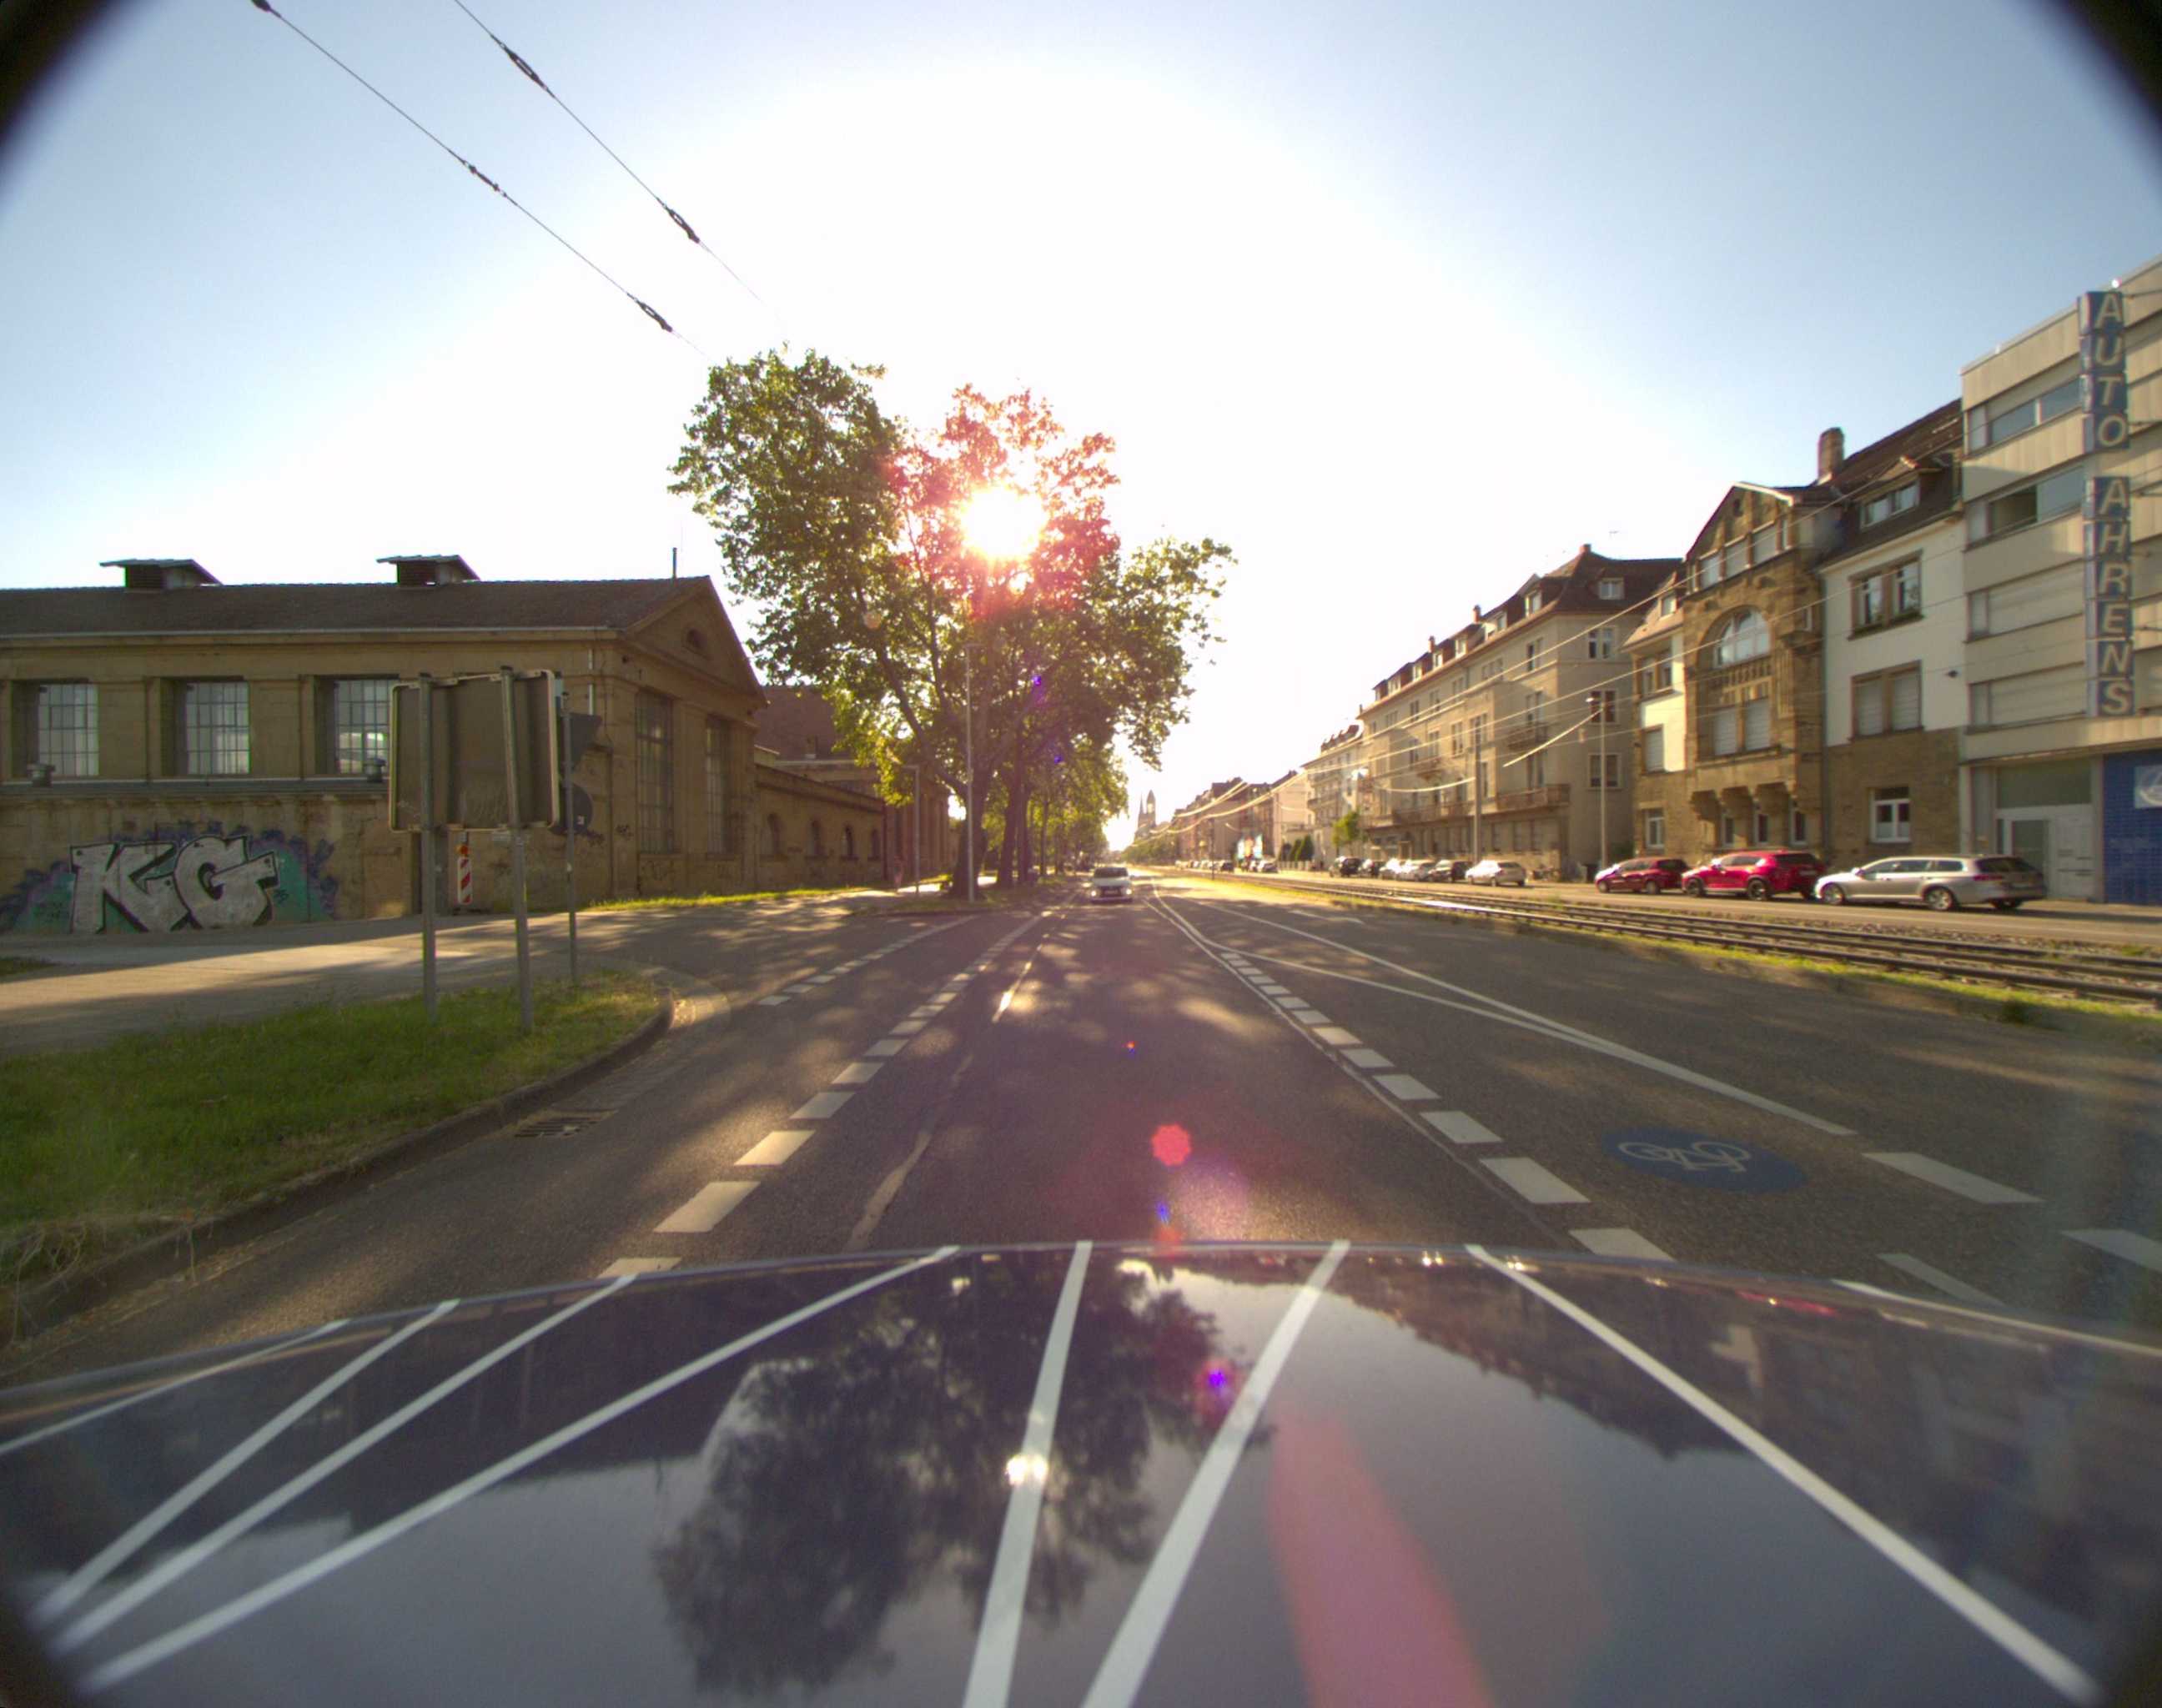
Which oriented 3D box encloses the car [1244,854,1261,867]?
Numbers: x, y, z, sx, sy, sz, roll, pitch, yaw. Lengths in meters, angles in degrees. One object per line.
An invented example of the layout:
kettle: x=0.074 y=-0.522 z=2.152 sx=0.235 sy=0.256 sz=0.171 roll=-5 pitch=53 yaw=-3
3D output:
car: x=25.149 y=0.980 z=111.537 sx=1.727 sy=1.776 sz=3.881 roll=-2 pitch=0 yaw=1

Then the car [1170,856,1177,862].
car: x=27.019 y=1.372 z=221.146 sx=1.624 sy=1.581 sz=3.450 roll=-2 pitch=0 yaw=1

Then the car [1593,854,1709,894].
car: x=23.445 y=0.811 z=31.416 sx=1.756 sy=1.487 sz=3.729 roll=-2 pitch=0 yaw=-5

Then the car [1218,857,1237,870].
car: x=19.489 y=1.314 z=101.320 sx=1.822 sy=1.674 sz=4.001 roll=0 pitch=0 yaw=2

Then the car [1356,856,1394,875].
car: x=24.592 y=0.953 z=63.662 sx=1.802 sy=1.470 sz=3.823 roll=-2 pitch=0 yaw=2

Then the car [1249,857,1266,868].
car: x=24.681 y=1.183 z=106.317 sx=1.684 sy=1.562 sz=3.389 roll=-2 pitch=0 yaw=1

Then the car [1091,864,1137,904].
car: x=1.300 y=1.177 z=30.867 sx=1.686 sy=1.462 sz=4.056 roll=-2 pitch=-1 yaw=2

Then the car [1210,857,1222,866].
car: x=25.040 y=1.398 z=141.004 sx=1.624 sy=1.581 sz=3.450 roll=-2 pitch=0 yaw=1

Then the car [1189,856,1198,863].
car: x=25.968 y=1.336 z=176.004 sx=1.624 sy=1.581 sz=3.450 roll=-2 pitch=0 yaw=1

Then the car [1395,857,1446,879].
car: x=23.564 y=0.961 z=52.803 sx=1.642 sy=1.438 sz=3.538 roll=-2 pitch=0 yaw=-6

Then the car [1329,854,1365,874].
car: x=24.175 y=0.899 z=69.177 sx=1.875 sy=1.726 sz=3.916 roll=-2 pitch=0 yaw=2

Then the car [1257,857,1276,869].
car: x=24.636 y=1.187 z=100.843 sx=1.684 sy=1.562 sz=3.389 roll=-2 pitch=0 yaw=1

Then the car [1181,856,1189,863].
car: x=26.599 y=1.385 z=194.076 sx=1.624 sy=1.581 sz=3.450 roll=-2 pitch=0 yaw=1

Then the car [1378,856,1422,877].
car: x=24.196 y=0.925 z=57.720 sx=1.802 sy=1.470 sz=3.823 roll=-2 pitch=0 yaw=2

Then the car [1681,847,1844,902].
car: x=23.294 y=0.673 z=26.233 sx=1.860 sy=1.677 sz=4.264 roll=-2 pitch=0 yaw=2

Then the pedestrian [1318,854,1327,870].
pedestrian: x=27.636 y=0.925 z=86.933 sx=0.725 sy=1.779 sz=0.678 roll=0 pitch=0 yaw=1

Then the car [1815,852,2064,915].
car: x=23.237 y=0.742 z=20.879 sx=1.861 sy=1.490 sz=4.382 roll=-2 pitch=0 yaw=0

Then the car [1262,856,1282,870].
car: x=23.994 y=1.123 z=95.569 sx=1.677 sy=1.622 sz=3.408 roll=-2 pitch=0 yaw=2

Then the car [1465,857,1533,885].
car: x=23.752 y=0.943 z=43.292 sx=1.802 sy=1.470 sz=3.823 roll=-2 pitch=0 yaw=2

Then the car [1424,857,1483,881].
car: x=23.814 y=0.930 z=48.714 sx=1.802 sy=1.422 sz=3.823 roll=-2 pitch=0 yaw=-1

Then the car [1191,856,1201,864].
car: x=25.925 y=1.344 z=171.052 sx=1.624 sy=1.581 sz=3.450 roll=-2 pitch=0 yaw=1

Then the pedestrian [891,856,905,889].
pedestrian: x=-9.377 y=0.944 z=38.927 sx=0.673 sy=1.652 sz=0.873 roll=0 pitch=0 yaw=-14

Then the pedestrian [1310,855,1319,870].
pedestrian: x=26.754 y=0.958 z=87.072 sx=0.725 sy=1.779 sz=0.678 roll=0 pitch=0 yaw=1
